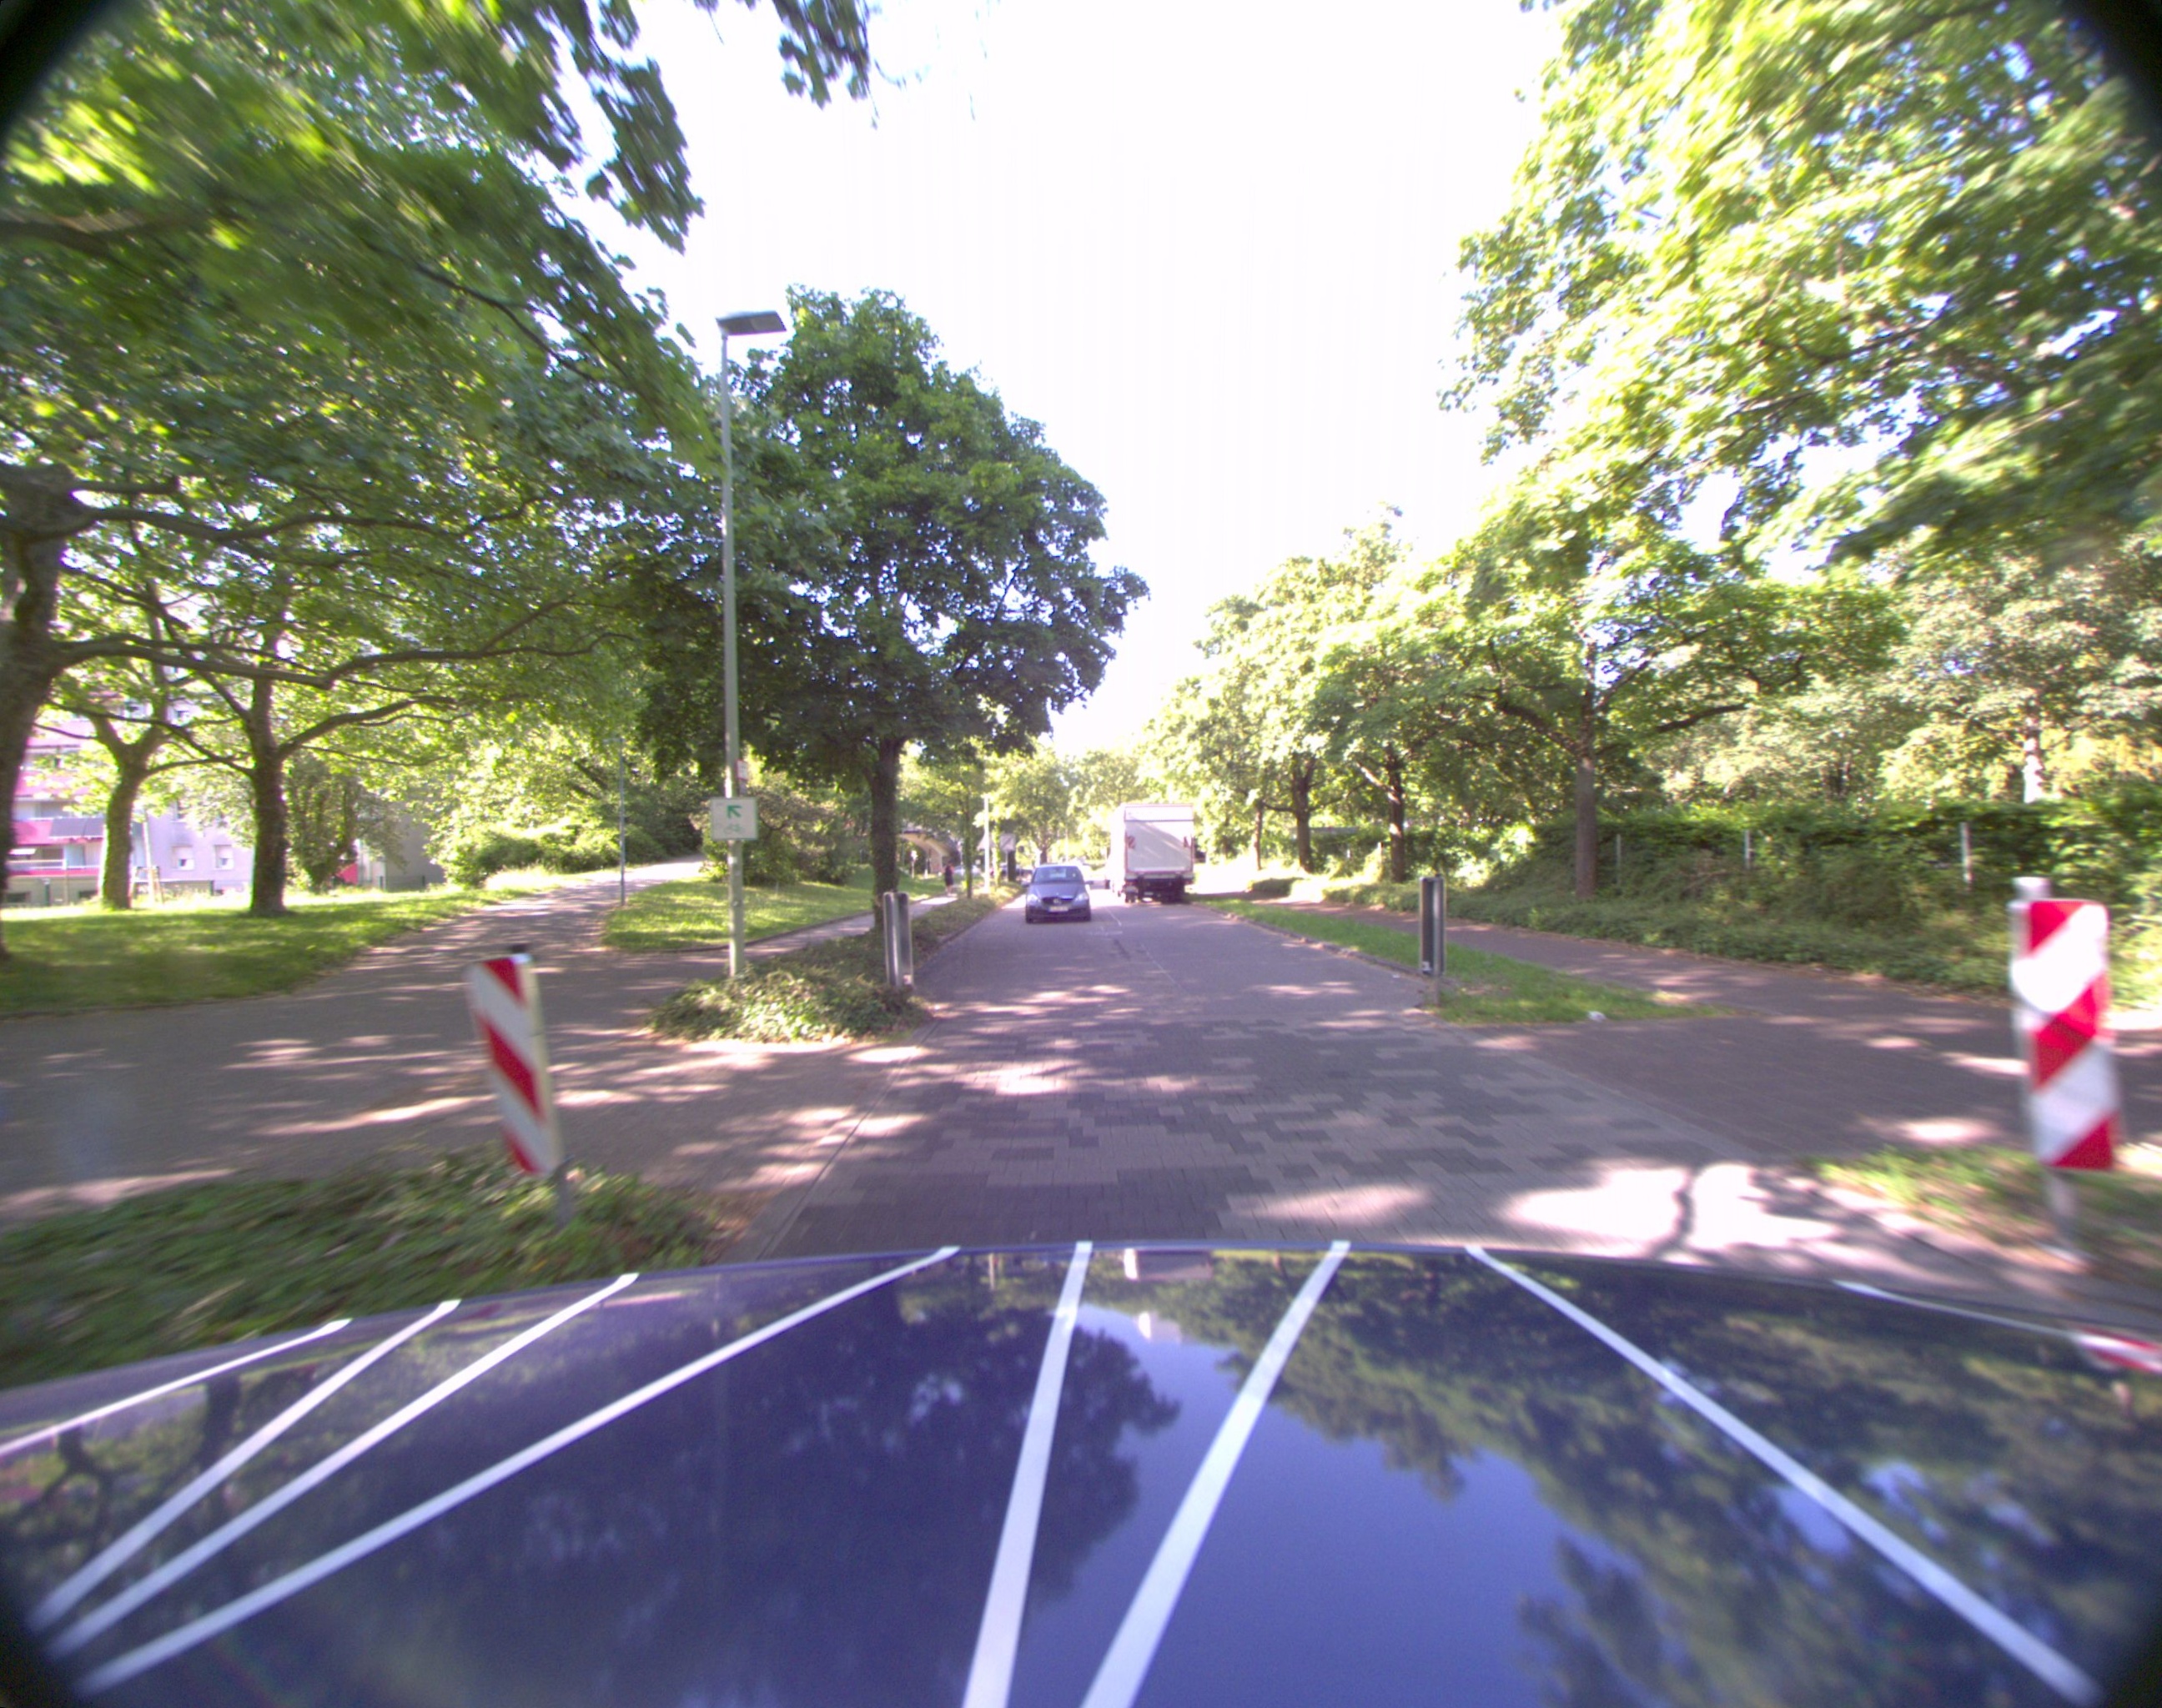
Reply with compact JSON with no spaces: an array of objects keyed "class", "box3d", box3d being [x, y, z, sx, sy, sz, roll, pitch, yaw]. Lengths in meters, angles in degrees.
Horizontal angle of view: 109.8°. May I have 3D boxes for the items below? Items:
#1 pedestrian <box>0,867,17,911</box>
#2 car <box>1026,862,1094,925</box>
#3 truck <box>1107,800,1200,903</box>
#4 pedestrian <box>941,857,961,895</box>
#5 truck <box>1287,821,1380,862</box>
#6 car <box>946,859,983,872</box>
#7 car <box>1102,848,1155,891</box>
[{"class":"pedestrian","box3d":[-39.250,1.284,27.478,0.627,1.579,0.679,-4,1,-31]},{"class":"car","box3d":[-0.628,1.061,21.921,1.734,1.578,3.999,-2,0,-3]},{"class":"truck","box3d":[2.765,-0.075,31.443,2.742,3.620,8.099,-2,0,-2]},{"class":"pedestrian","box3d":[-6.334,1.057,36.992,0.793,1.821,0.671,-2,0,-1]},{"class":"truck","box3d":[12.920,-0.623,39.070,3.998,2.002,2.203,0,0,-4]},{"class":"car","box3d":[-13.954,1.390,90.985,4.089,1.258,1.757,-3,0,0]},{"class":"car","box3d":[2.475,0.794,41.274,2.125,2.083,6.582,-2,0,-3]}]
